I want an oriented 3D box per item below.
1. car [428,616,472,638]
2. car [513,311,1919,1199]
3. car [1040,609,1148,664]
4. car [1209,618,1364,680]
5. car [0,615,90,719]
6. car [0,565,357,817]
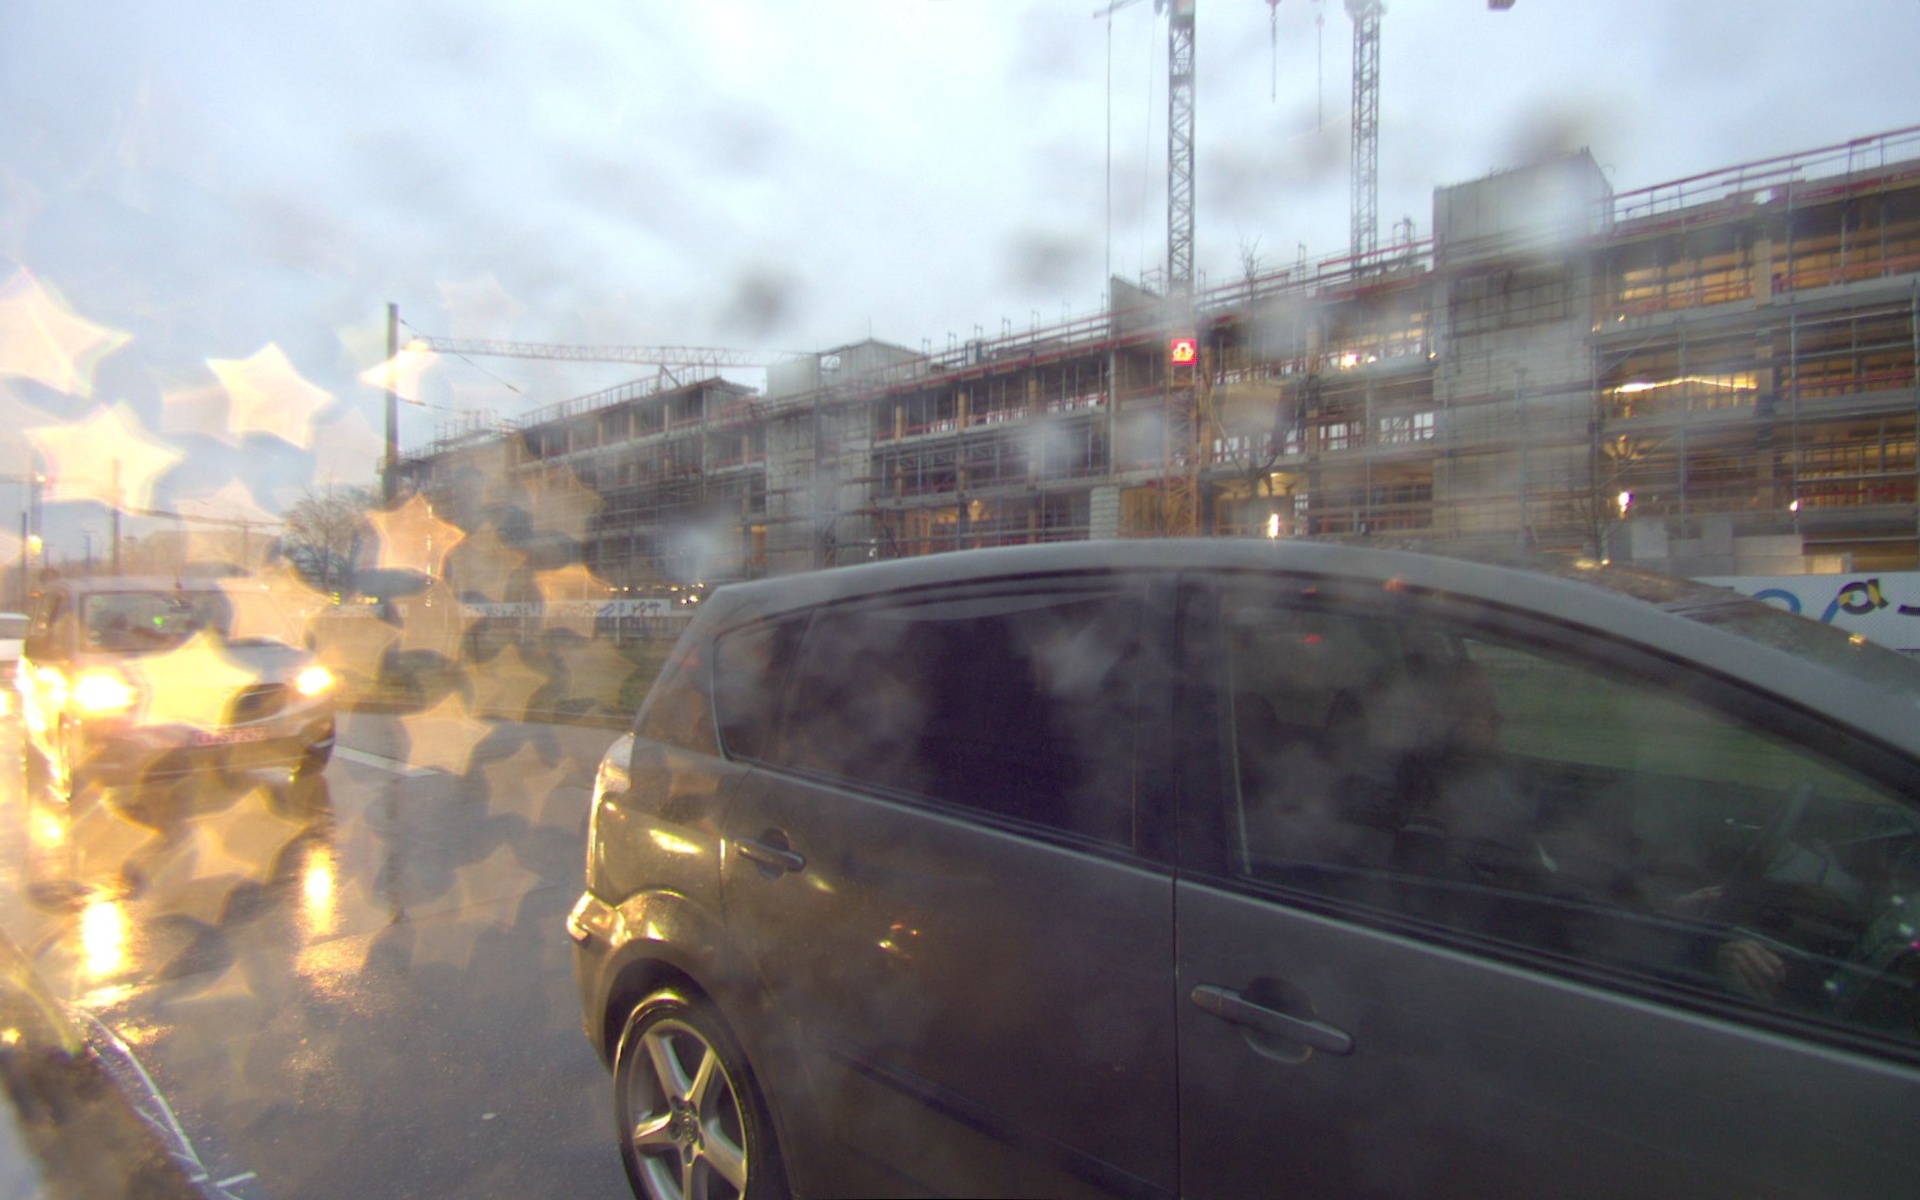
[{"bbox_3d":[-43.286,2.302,85.941,3.998,1.785,1.973,-1,0,41],"label":"car"},{"bbox_3d":[1.033,0.554,1.818,3.996,1.606,1.742,-1,0,39],"label":"car"},{"bbox_3d":[5.503,1.454,41.892,4.084,2.139,1.931,-1,0,43],"label":"car"},{"bbox_3d":[9.891,1.441,30.839,4.084,1.700,1.931,-1,0,43],"label":"car"},{"bbox_3d":[-17.177,1.111,17.728,4.311,1.666,1.825,-1,0,33],"label":"car"},{"bbox_3d":[-7.113,0.643,9.048,3.999,1.746,1.834,-1,0,42],"label":"car"}]
